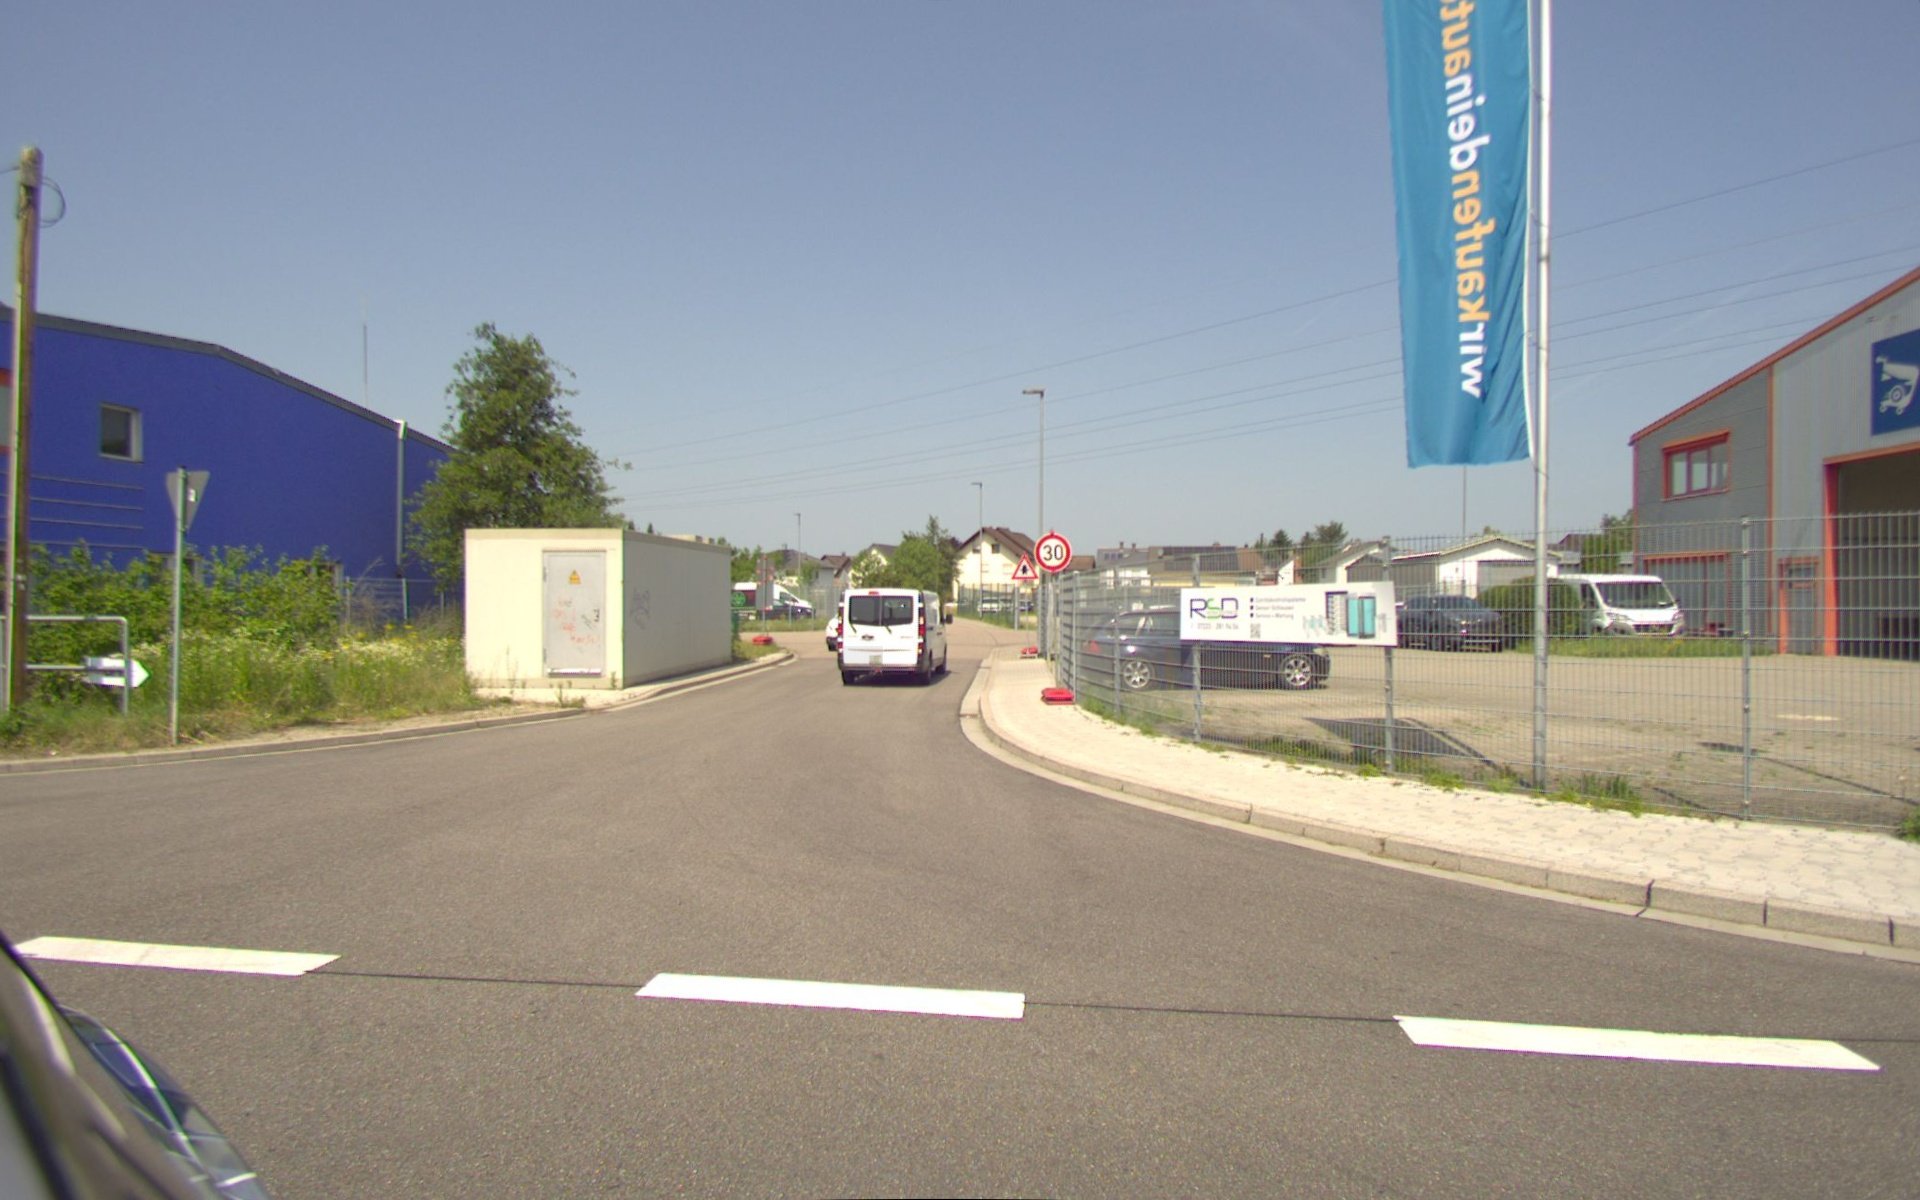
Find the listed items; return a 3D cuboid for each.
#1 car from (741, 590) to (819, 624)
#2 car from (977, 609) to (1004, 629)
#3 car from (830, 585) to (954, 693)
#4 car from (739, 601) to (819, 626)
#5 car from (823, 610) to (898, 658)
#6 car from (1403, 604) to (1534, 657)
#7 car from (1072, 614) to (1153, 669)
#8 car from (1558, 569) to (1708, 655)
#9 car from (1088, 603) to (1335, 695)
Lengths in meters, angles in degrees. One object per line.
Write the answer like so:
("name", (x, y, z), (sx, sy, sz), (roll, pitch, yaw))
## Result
("car", (-11.027, 0.414, 61.853), (4.576, 2.029, 2.005), (0, -1, -13))
("car", (2.299, 1.406, 75.770), (1.753, 1.514, 4.155), (0, -1, 5))
("car", (-1.346, 0.774, 22.232), (1.984, 2.076, 4.805), (1, 0, 5))
("car", (-10.516, 0.807, 59.010), (4.504, 1.438, 2.003), (0, -1, -8))
("car", (-3.265, 1.094, 34.048), (1.753, 1.514, 4.155), (0, -1, 5))
("car", (14.695, 0.882, 29.523), (1.849, 1.431, 4.073), (0, -1, 2))
("car", (4.471, 1.197, 30.194), (1.750, 1.514, 4.000), (-1, -1, 0))
("car", (18.703, 0.358, 28.402), (1.979, 2.212, 4.306), (-1, -1, 12))
("car", (4.320, 0.848, 17.919), (3.949, 1.514, 1.772), (-1, -1, 5))
